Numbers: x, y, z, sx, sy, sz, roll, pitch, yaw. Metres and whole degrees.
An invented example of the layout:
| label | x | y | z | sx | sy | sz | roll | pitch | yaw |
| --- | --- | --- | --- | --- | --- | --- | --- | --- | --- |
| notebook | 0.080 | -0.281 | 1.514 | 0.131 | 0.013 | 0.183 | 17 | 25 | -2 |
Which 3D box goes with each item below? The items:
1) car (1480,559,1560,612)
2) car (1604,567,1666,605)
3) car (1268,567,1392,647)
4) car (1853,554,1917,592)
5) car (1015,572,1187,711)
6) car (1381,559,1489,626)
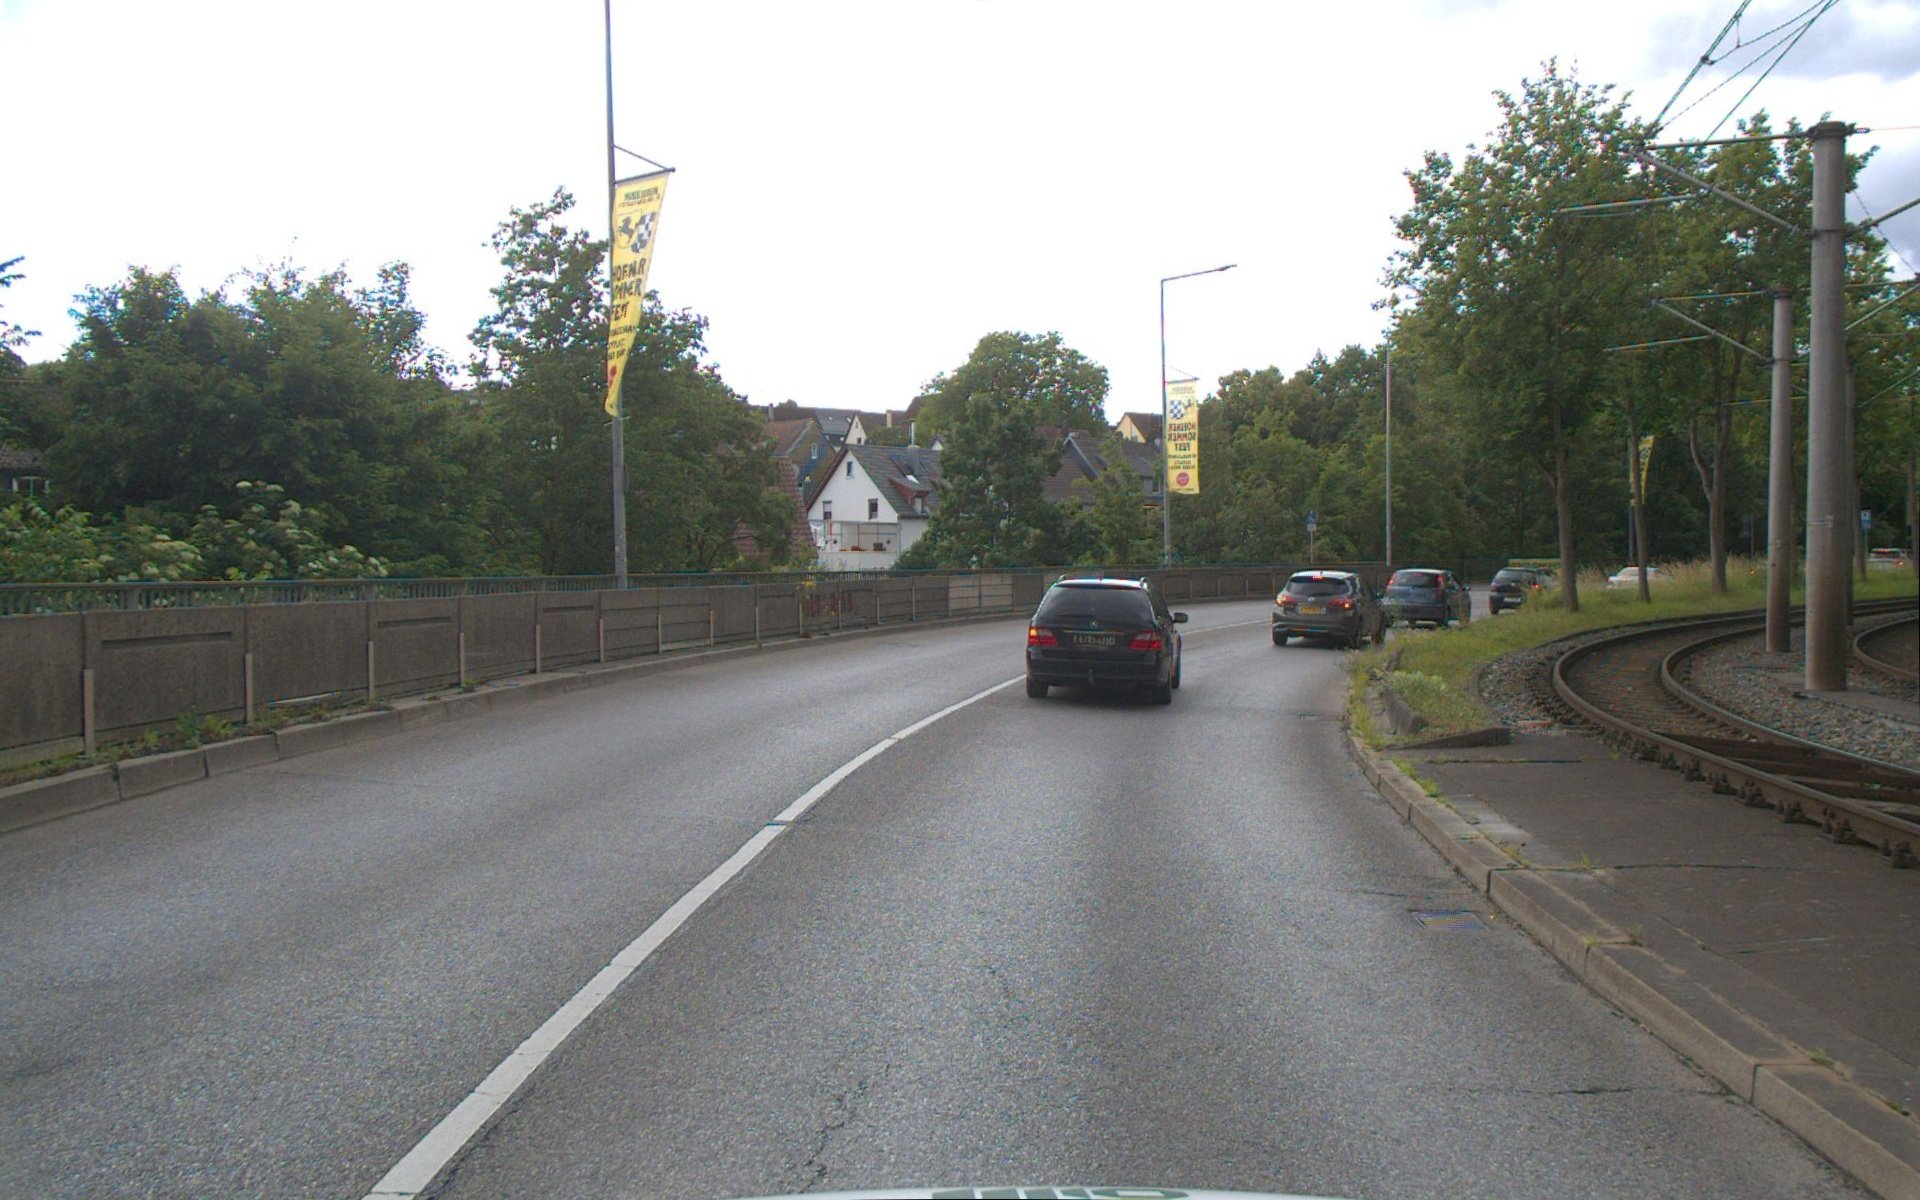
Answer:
| label | x | y | z | sx | sy | sz | roll | pitch | yaw |
| --- | --- | --- | --- | --- | --- | --- | --- | --- | --- |
| car | 17.050 | -0.457 | 50.263 | 1.548 | 1.565 | 3.993 | 0 | 1 | 30 |
| car | 24.871 | -0.529 | 60.875 | 1.474 | 1.388 | 3.577 | 0 | 1 | 33 |
| car | 7.811 | 0.099 | 34.685 | 1.739 | 1.520 | 3.998 | 3 | 2 | 24 |
| car | 46.782 | -1.373 | 83.622 | 1.902 | 1.892 | 3.973 | 0 | 1 | 44 |
| car | 1.912 | 0.436 | 21.171 | 1.812 | 1.512 | 4.425 | 2 | 1 | 9 |
| car | 12.302 | -0.223 | 42.725 | 1.857 | 1.601 | 3.994 | 2 | 1 | 28 |
